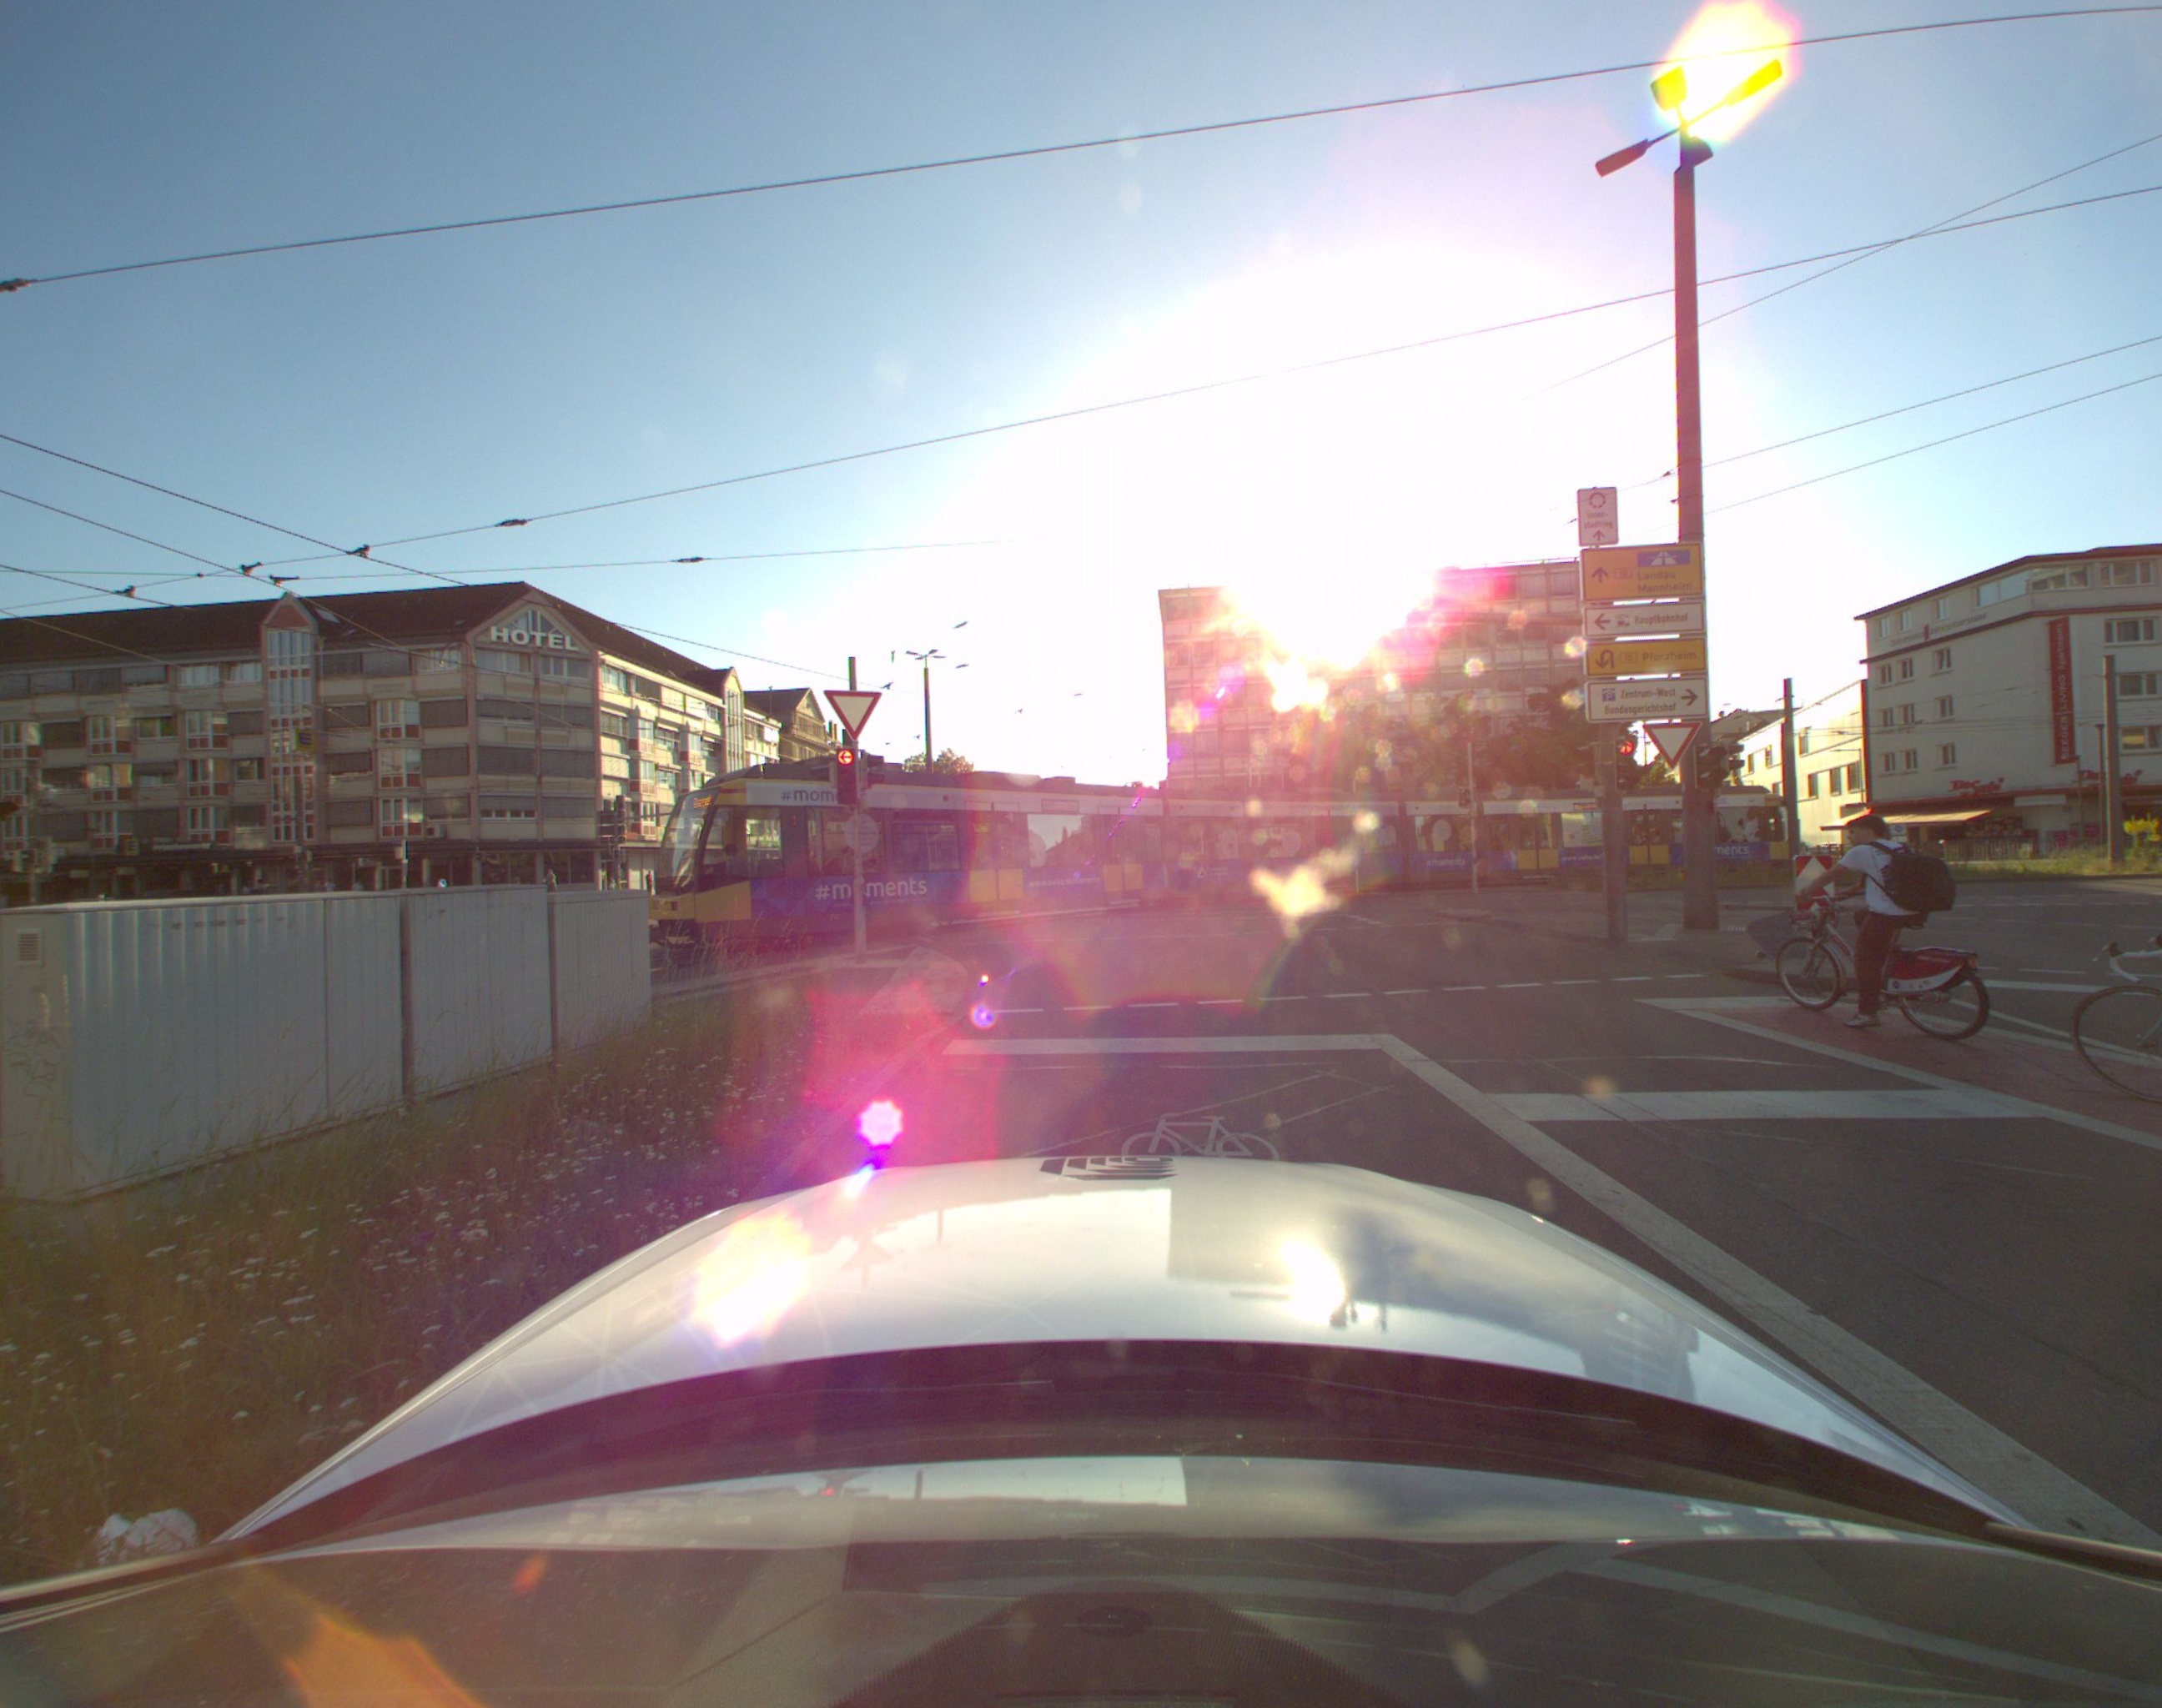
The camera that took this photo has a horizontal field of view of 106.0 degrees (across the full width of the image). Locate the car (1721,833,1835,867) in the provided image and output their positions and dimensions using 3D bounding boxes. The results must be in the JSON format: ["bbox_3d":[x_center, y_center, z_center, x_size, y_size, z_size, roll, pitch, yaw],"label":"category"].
[{"bbox_3d":[34.825,-0.202,40.728,4.439,1.651,1.993,0,-1,-10],"label":"car"}]

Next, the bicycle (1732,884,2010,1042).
[{"bbox_3d":[6.565,0.838,6.925,0.540,1.101,1.807,0,-1,-3],"label":"bicycle"}]

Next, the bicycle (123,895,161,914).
[{"bbox_3d":[-60.190,3.231,52.217,0.481,1.119,1.650,0,-1,2],"label":"bicycle"}]

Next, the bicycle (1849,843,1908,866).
[{"bbox_3d":[39.667,0.031,40.546,0.985,1.111,2.657,-1,-1,18],"label":"bicycle"}]

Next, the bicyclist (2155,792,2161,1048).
[{"bbox_3d":[6.161,0.531,4.032,0.612,1.746,0.791,0,-1,-3],"label":"bicyclist"}]

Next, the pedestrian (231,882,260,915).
[{"bbox_3d":[-42.752,2.272,41.667,0.680,1.660,0.780,0,-1,-4],"label":"pedestrian"}]

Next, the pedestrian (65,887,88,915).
[{"bbox_3d":[-64.690,3.016,52.445,0.671,1.778,0.825,-1,-1,32],"label":"pedestrian"}]

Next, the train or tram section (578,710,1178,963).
[{"bbox_3d":[-3.233,-0.307,18.556,3.668,3.833,13.443,-3,-1,42],"label":"train or tram section"}]

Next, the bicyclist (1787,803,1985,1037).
[{"bbox_3d":[6.585,0.503,6.729,0.540,1.768,1.059,0,-1,-3],"label":"bicyclist"}]

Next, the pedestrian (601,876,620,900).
[{"bbox_3d":[-29.602,2.142,51.251,0.703,1.453,0.855,0,-1,-3],"label":"pedestrian"}]

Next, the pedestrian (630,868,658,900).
[{"bbox_3d":[-28.415,1.957,52.940,1.191,1.881,0.857,0,11,-3],"label":"pedestrian"}]

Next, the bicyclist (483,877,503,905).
[{"bbox_3d":[-34.890,2.209,48.292,0.636,1.596,0.659,0,2,5],"label":"bicyclist"}]

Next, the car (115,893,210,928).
[{"bbox_3d":[-51.495,3.160,45.698,3.660,1.816,1.806,0,-1,8],"label":"car"}]

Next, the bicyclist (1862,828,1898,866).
[{"bbox_3d":[39.601,-0.336,40.383,0.985,1.843,0.880,-1,-1,18],"label":"bicyclist"}]

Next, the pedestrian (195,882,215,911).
[{"bbox_3d":[-56.208,2.733,52.265,0.598,1.852,0.613,-1,-1,12],"label":"pedestrian"}]

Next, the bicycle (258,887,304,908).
[{"bbox_3d":[-49.468,2.687,50.338,2.312,1.227,0.731,-2,-1,7],"label":"bicycle"}]

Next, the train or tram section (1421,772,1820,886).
[{"bbox_3d":[19.660,-0.876,30.123,12.919,3.834,3.708,0,-1,-6],"label":"train or tram section"}]

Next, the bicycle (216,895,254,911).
[{"bbox_3d":[-52.466,3.060,50.511,2.060,0.917,0.502,-2,-1,7],"label":"bicycle"}]

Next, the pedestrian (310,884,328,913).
[{"bbox_3d":[-45.684,2.647,48.830,0.625,1.694,0.859,0,-1,-30],"label":"pedestrian"}]

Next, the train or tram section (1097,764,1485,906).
[{"bbox_3d":[7.176,-0.683,26.605,13.007,3.833,3.683,-2,0,-27],"label":"train or tram section"}]

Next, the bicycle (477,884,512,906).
[{"bbox_3d":[-34.875,2.430,48.435,0.635,1.145,1.773,0,2,6],"label":"bicycle"}]

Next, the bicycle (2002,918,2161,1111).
[{"bbox_3d":[6.183,0.905,4.356,0.540,1.001,1.692,0,-1,-3],"label":"bicycle"}]

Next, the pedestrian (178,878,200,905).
[{"bbox_3d":[-56.689,2.376,51.763,0.599,1.635,0.611,-7,-2,5],"label":"pedestrian"}]
